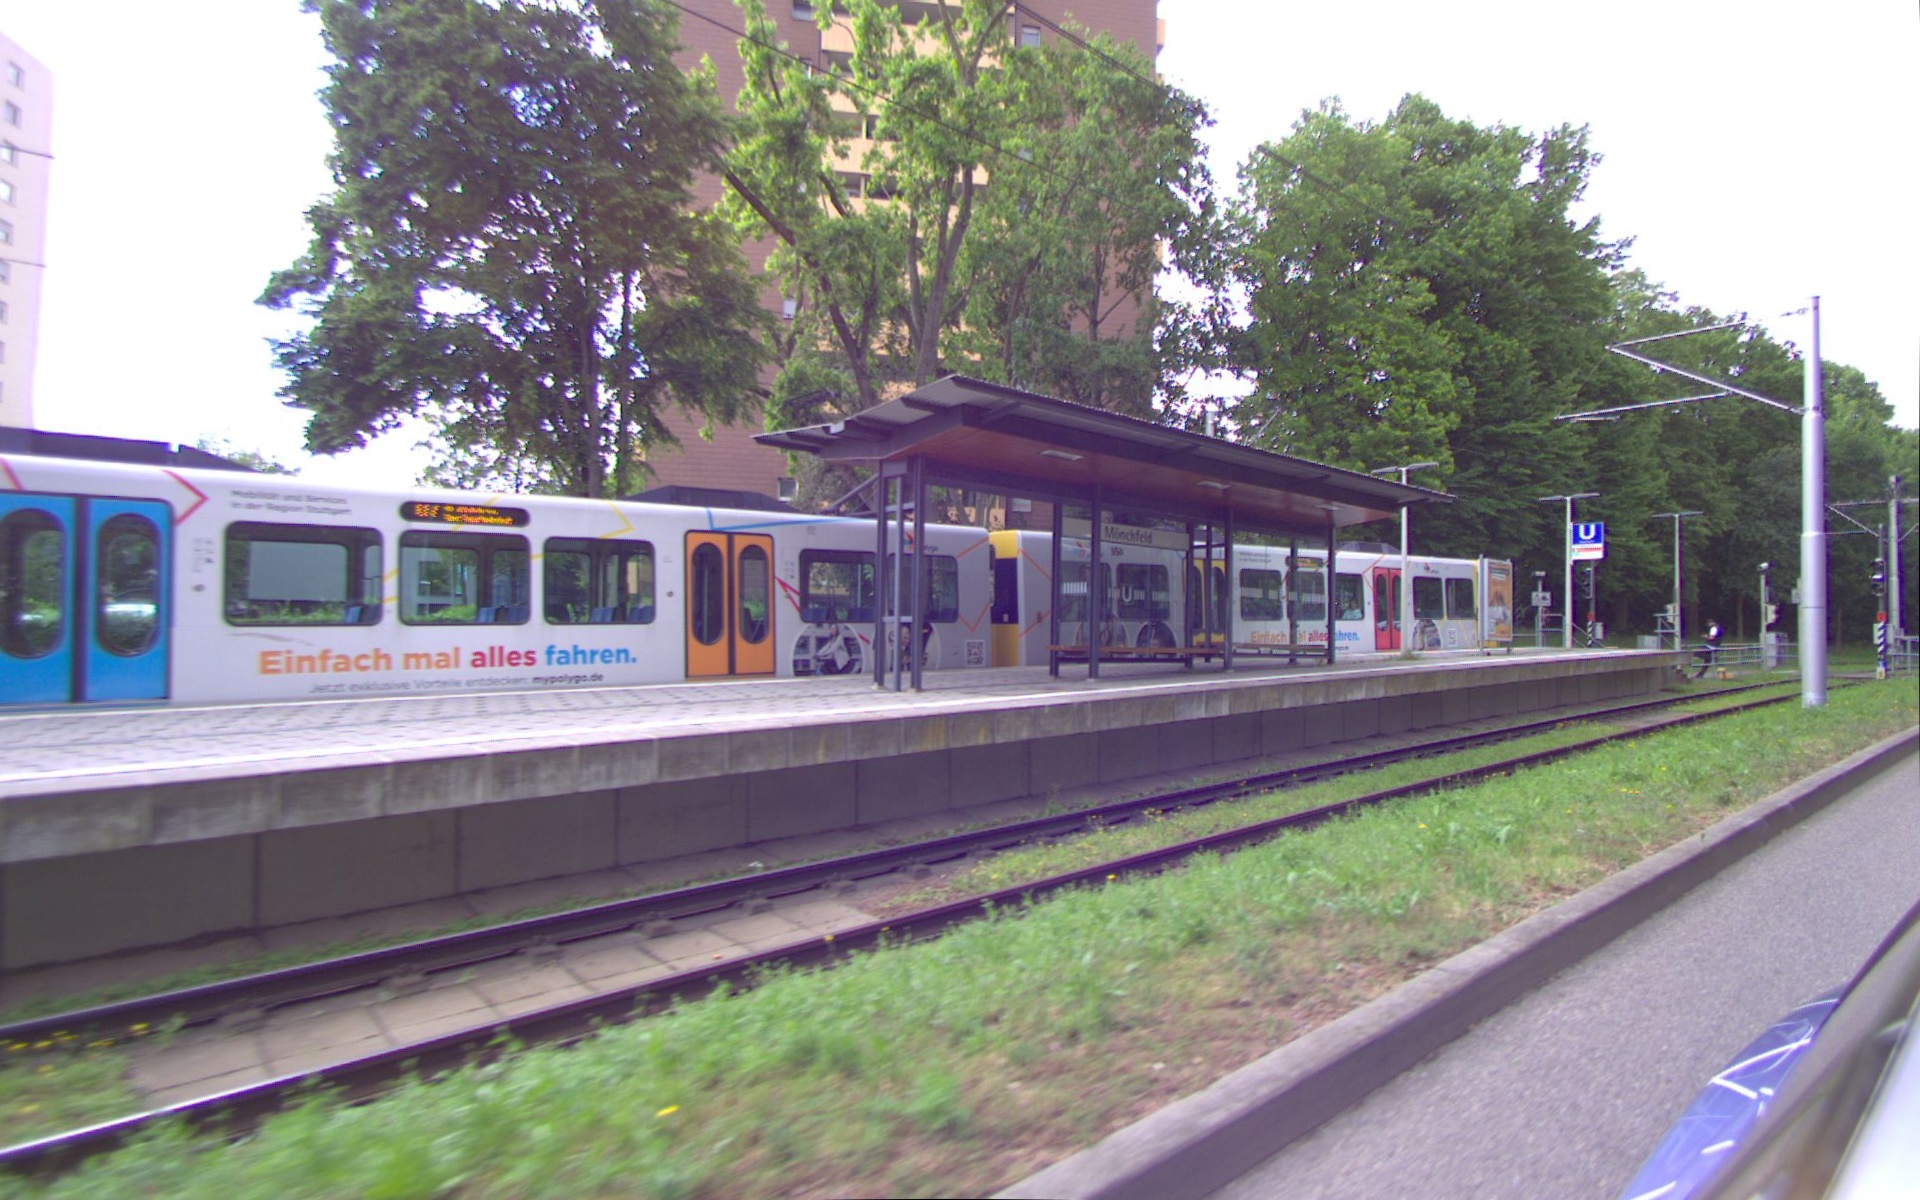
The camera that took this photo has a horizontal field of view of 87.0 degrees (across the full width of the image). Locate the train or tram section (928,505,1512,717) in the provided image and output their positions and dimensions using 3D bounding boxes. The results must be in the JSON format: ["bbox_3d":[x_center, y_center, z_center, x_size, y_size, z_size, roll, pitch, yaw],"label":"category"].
[{"bbox_3d":[7.532,0.269,24.625,18.183,3.785,2.821,0,-2,-36],"label":"train or tram section"}]

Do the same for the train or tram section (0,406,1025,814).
[{"bbox_3d":[-6.847,0.152,13.235,18.597,3.848,2.818,0,-2,-40],"label":"train or tram section"}]

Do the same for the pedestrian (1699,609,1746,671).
[{"bbox_3d":[22.387,1.176,29.712,0.984,1.781,0.718,-3,-4,44],"label":"pedestrian"}]
